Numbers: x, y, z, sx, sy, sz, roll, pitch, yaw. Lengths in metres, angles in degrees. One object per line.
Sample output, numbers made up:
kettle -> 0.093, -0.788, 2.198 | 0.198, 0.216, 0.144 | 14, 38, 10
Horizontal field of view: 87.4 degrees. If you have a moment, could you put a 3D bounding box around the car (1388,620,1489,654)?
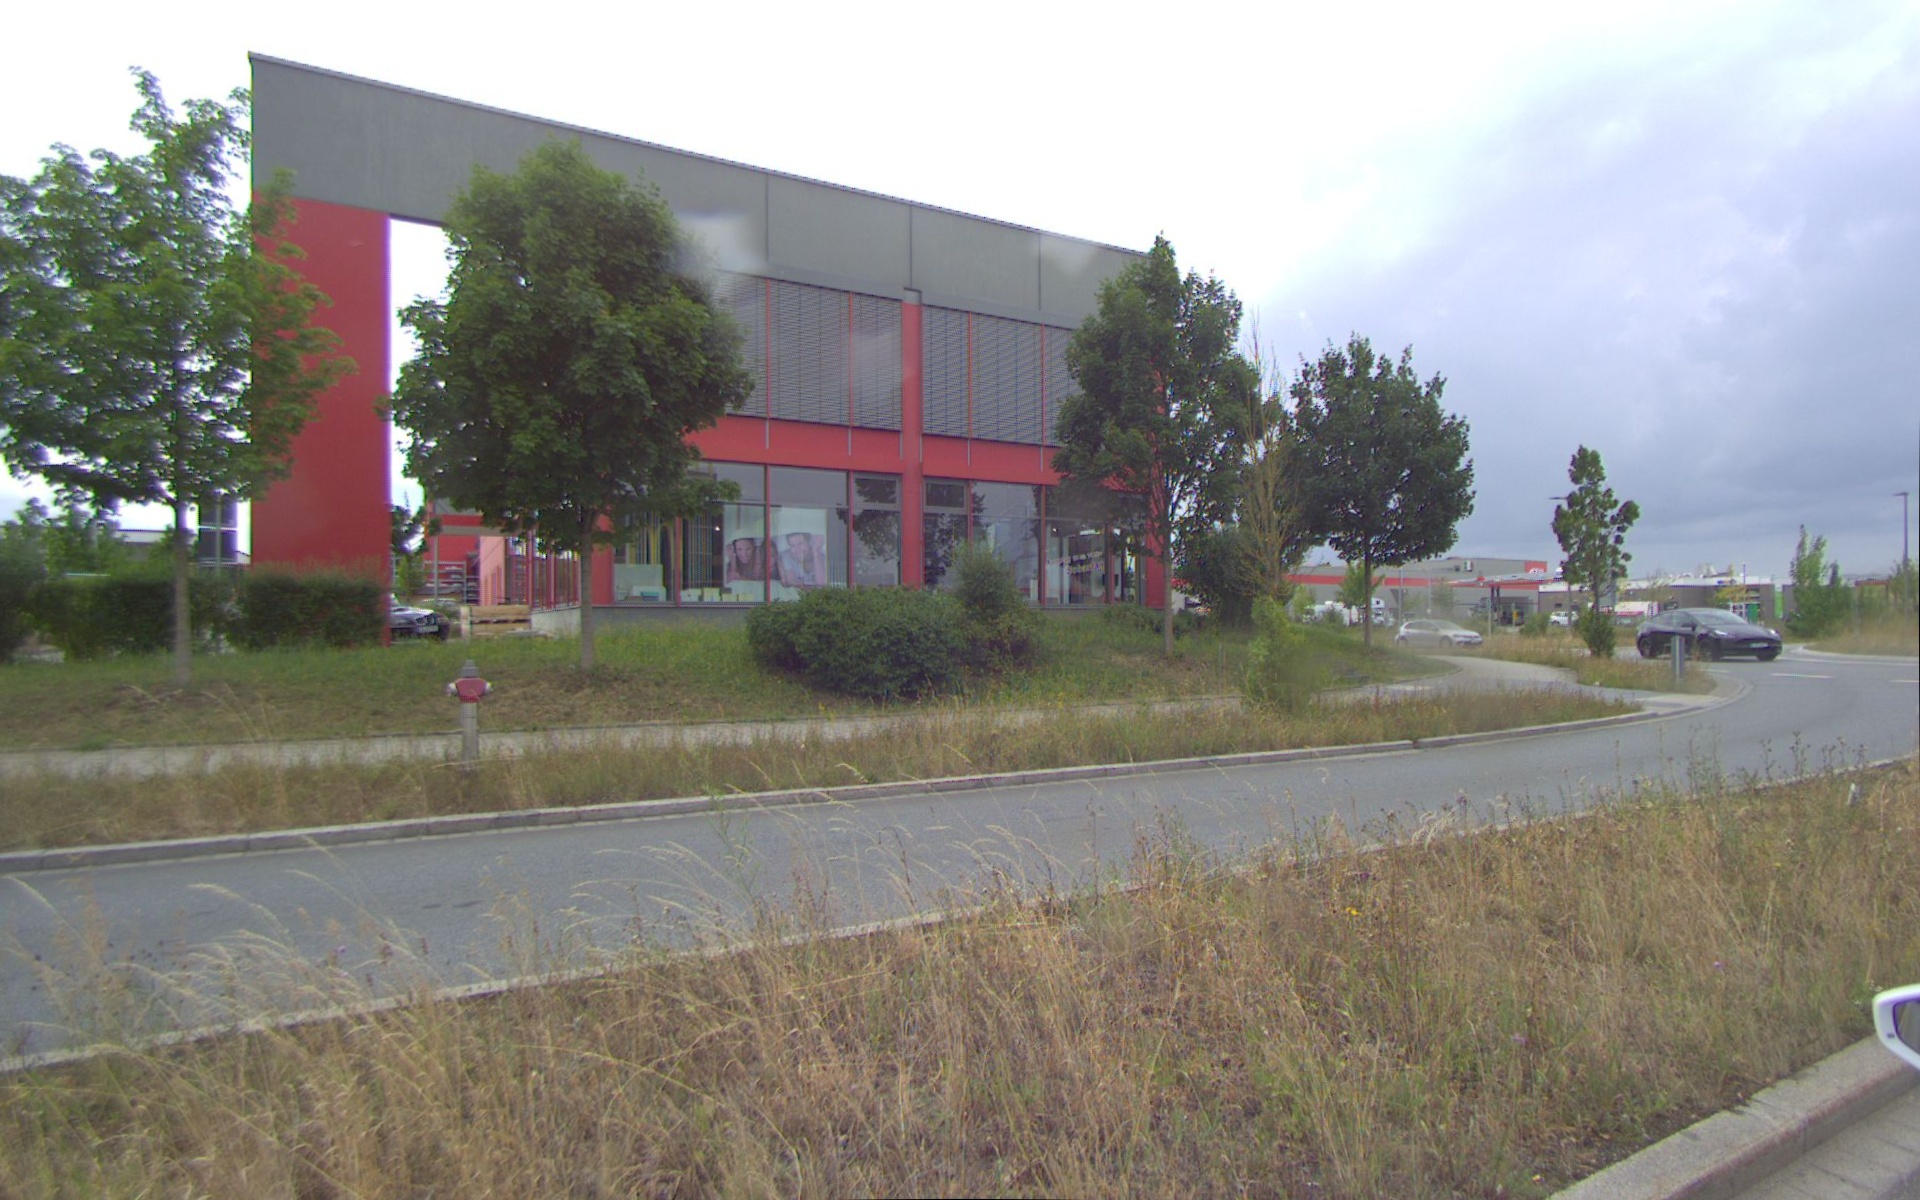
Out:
car -> 22.058, 1.729, 46.433 | 1.788, 1.483, 3.977 | -1, -2, -24

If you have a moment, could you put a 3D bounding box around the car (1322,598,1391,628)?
car -> 40.423, 1.307, 102.248 | 7.605, 2.857, 2.449 | 2, 0, -32

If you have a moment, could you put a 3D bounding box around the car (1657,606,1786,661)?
car -> 23.768, 0.992, 31.564 | 1.907, 1.518, 4.773 | -2, -1, 21

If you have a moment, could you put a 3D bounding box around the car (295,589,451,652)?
car -> -12.691, 0.449, 21.867 | 2.826, 1.287, 1.253 | 2, 0, -29
